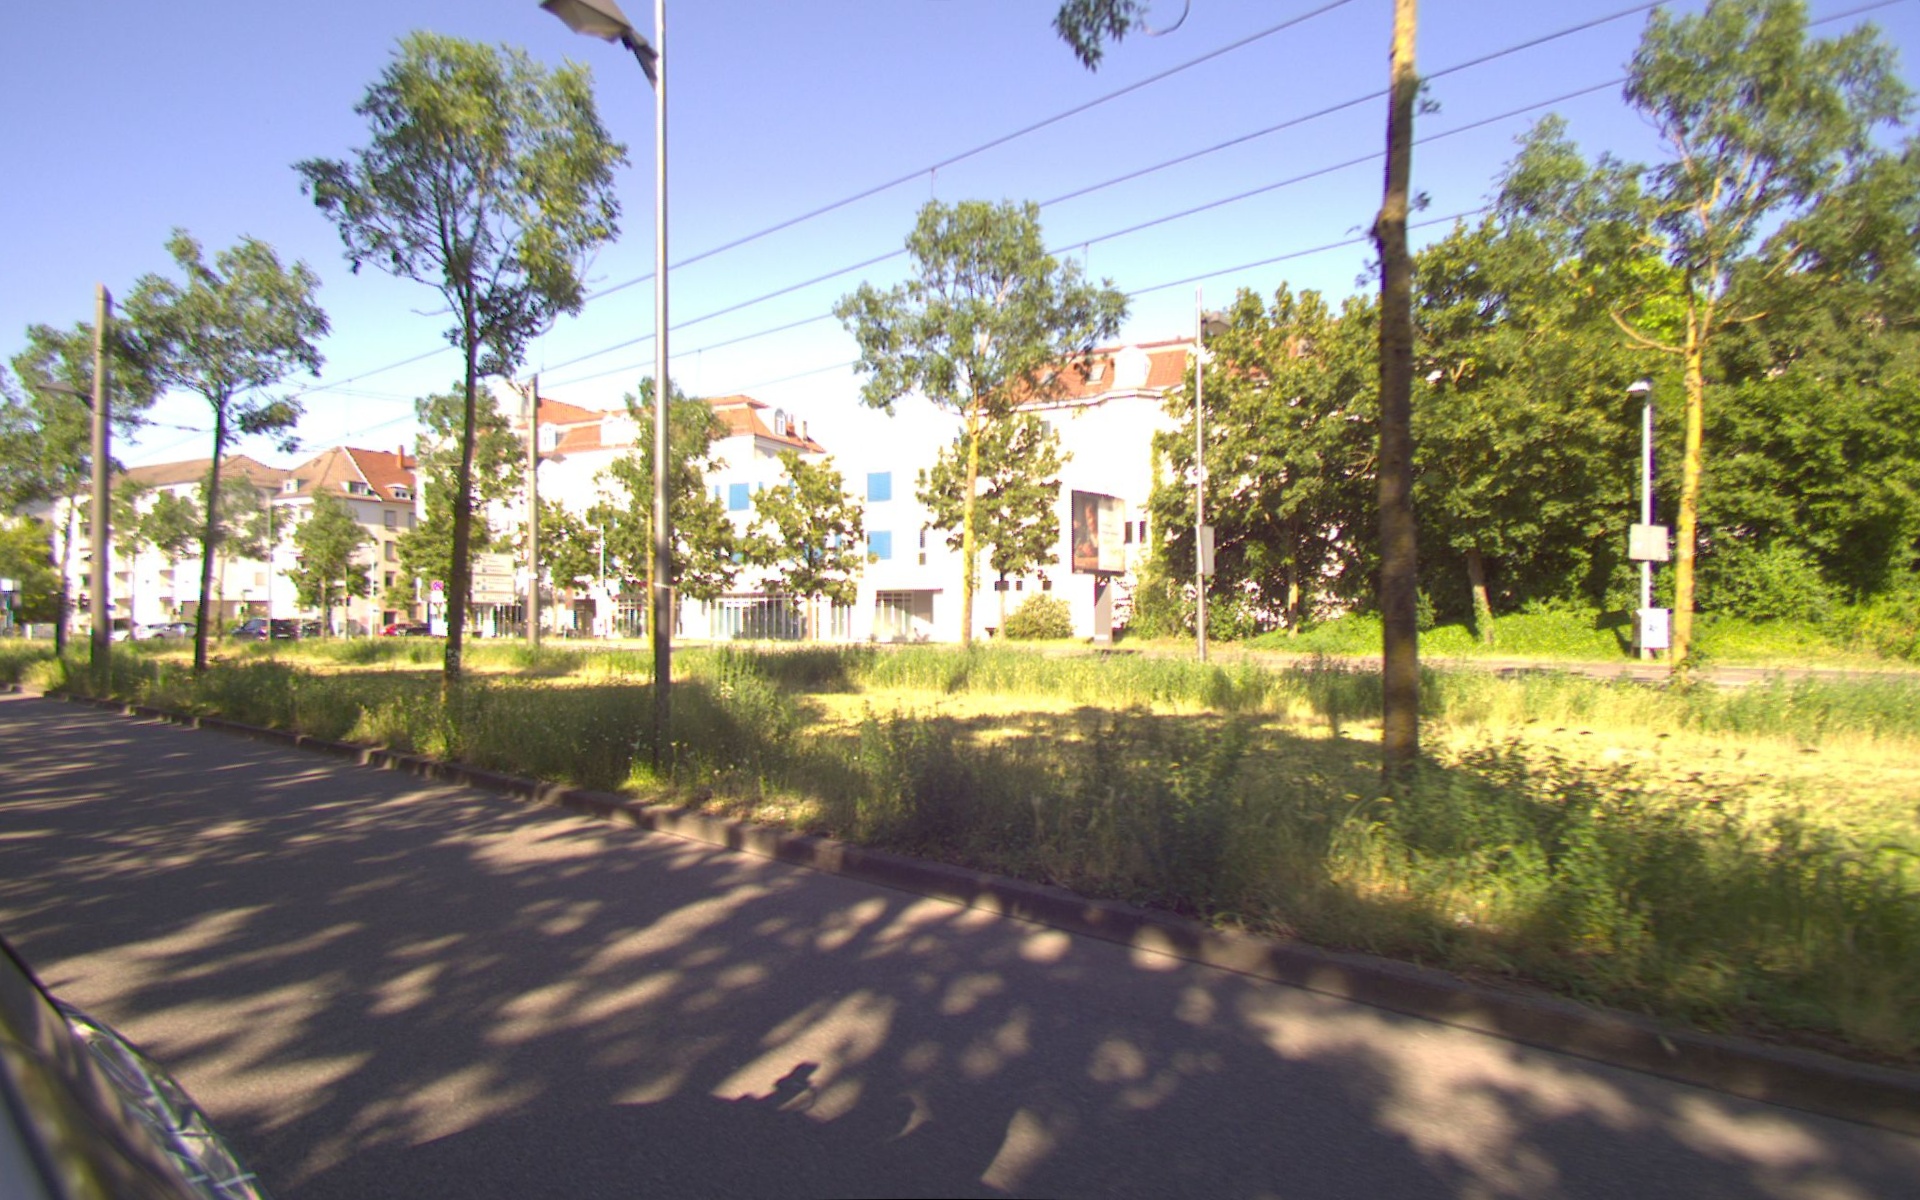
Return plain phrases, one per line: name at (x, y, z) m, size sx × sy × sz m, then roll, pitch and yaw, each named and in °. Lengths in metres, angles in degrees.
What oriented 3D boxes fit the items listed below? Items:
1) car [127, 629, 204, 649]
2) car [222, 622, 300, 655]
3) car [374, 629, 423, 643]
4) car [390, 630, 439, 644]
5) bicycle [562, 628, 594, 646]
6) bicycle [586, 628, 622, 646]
car at (-61.448, 3.034, 78.355) m, size 2.320 × 1.476 × 4.155 m, roll -1°, pitch -2°, yaw 24°
car at (-36.862, 2.008, 53.353) m, size 4.474 × 1.653 × 1.805 m, roll -2°, pitch -2°, yaw 32°
car at (-55.420, 3.527, 99.961) m, size 1.693 × 1.320 × 4.056 m, roll -1°, pitch -2°, yaw 24°
car at (-52.710, 3.586, 97.876) m, size 1.693 × 1.320 × 4.056 m, roll -1°, pitch -2°, yaw 24°
bicycle at (-26.729, 2.576, 70.738) m, size 2.543 × 1.222 × 0.712 m, roll -2°, pitch -2°, yaw 31°
bicycle at (-24.787, 2.565, 70.493) m, size 0.717 × 1.222 × 2.525 m, roll -2°, pitch -2°, yaw 31°
